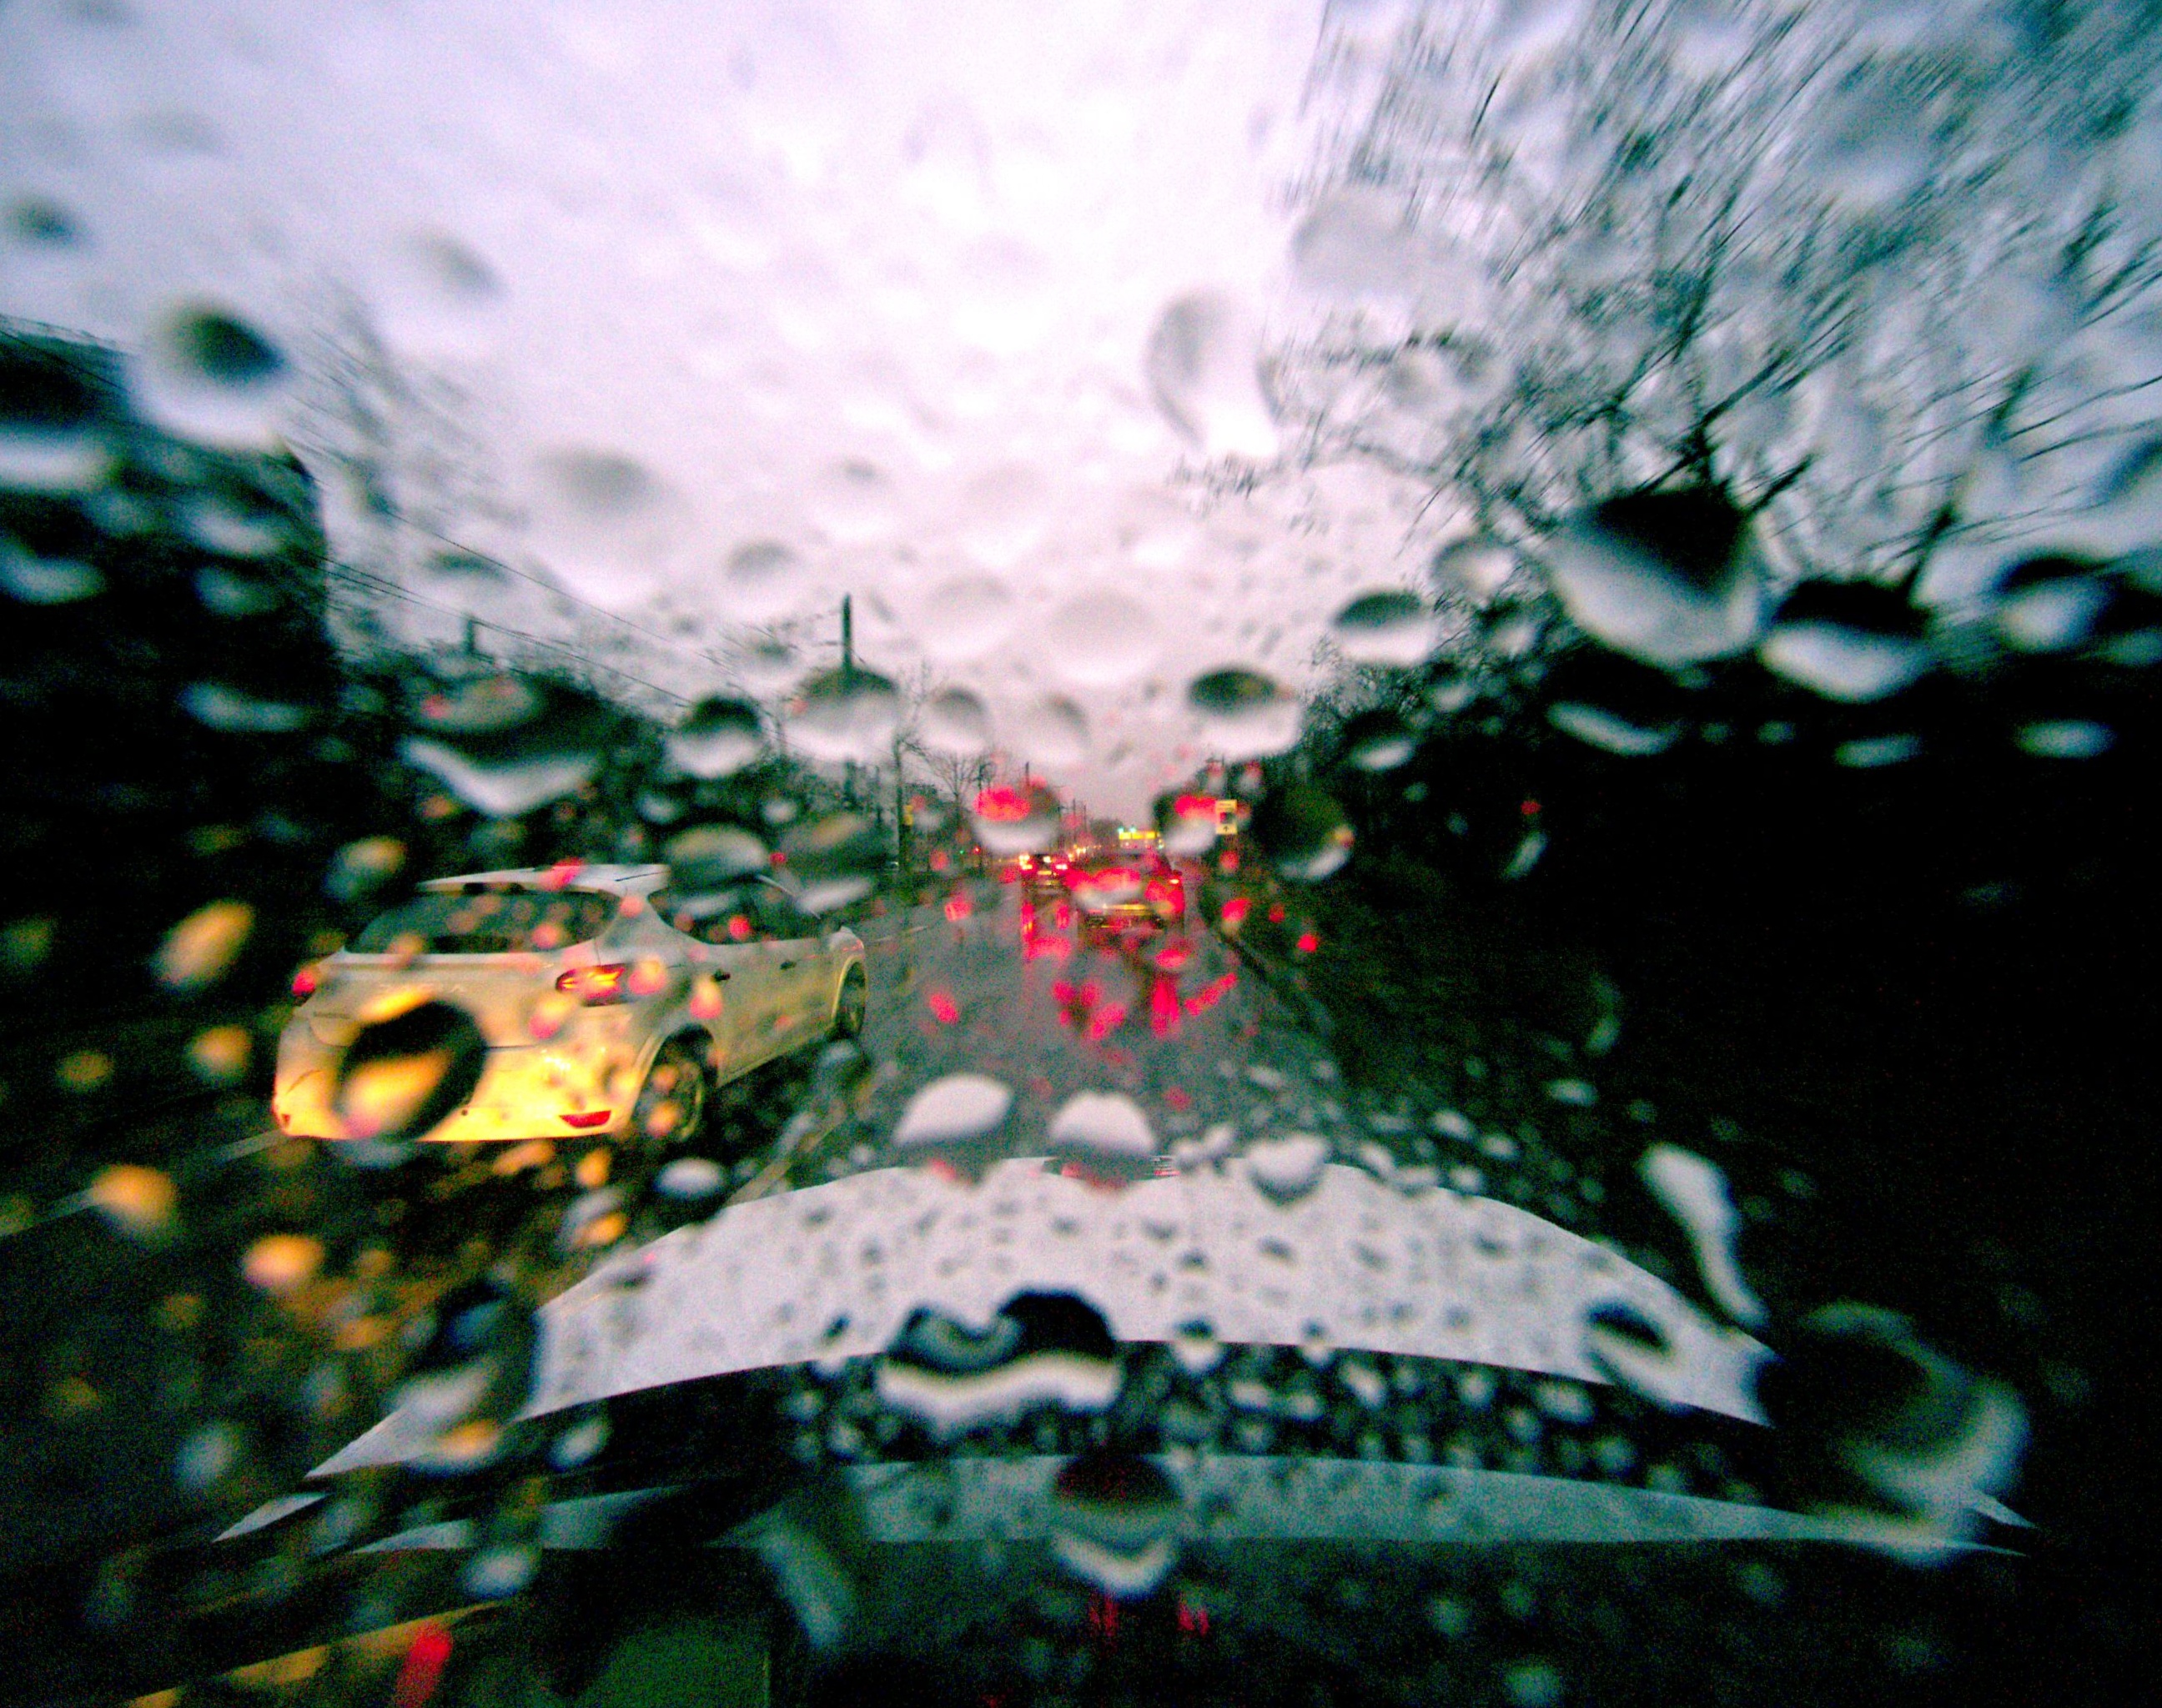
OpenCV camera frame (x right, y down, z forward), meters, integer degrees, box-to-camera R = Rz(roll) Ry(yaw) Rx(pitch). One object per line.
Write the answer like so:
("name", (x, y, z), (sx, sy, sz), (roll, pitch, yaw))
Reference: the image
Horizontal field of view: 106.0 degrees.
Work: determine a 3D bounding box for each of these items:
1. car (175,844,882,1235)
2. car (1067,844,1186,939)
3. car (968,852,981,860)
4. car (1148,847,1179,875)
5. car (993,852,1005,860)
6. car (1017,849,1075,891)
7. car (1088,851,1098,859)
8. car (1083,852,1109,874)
("car", (-2.732, 0.744, 5.342), (1.702, 1.525, 4.136), (-2, 0, 1))
("car", (0.907, 0.620, 15.789), (1.989, 1.584, 4.004), (-1, 0, 4))
("car", (-21.626, 0.354, 165.542), (1.984, 1.658, 4.004), (-1, 0, 4))
("car", (5.029, 0.413, 49.908), (1.701, 1.558, 4.000), (-2, 0, 4))
("car", (-17.321, 0.380, 172.134), (1.984, 1.658, 4.004), (-1, 0, 4))
("car", (-1.288, 0.557, 31.618), (1.873, 1.459, 4.002), (-2, 1, 2))
("car", (2.660, 0.272, 180.738), (1.984, 1.666, 3.841), (-2, 0, 4))
("car", (1.129, 0.632, 61.325), (1.701, 1.558, 4.000), (-2, 0, 4))
